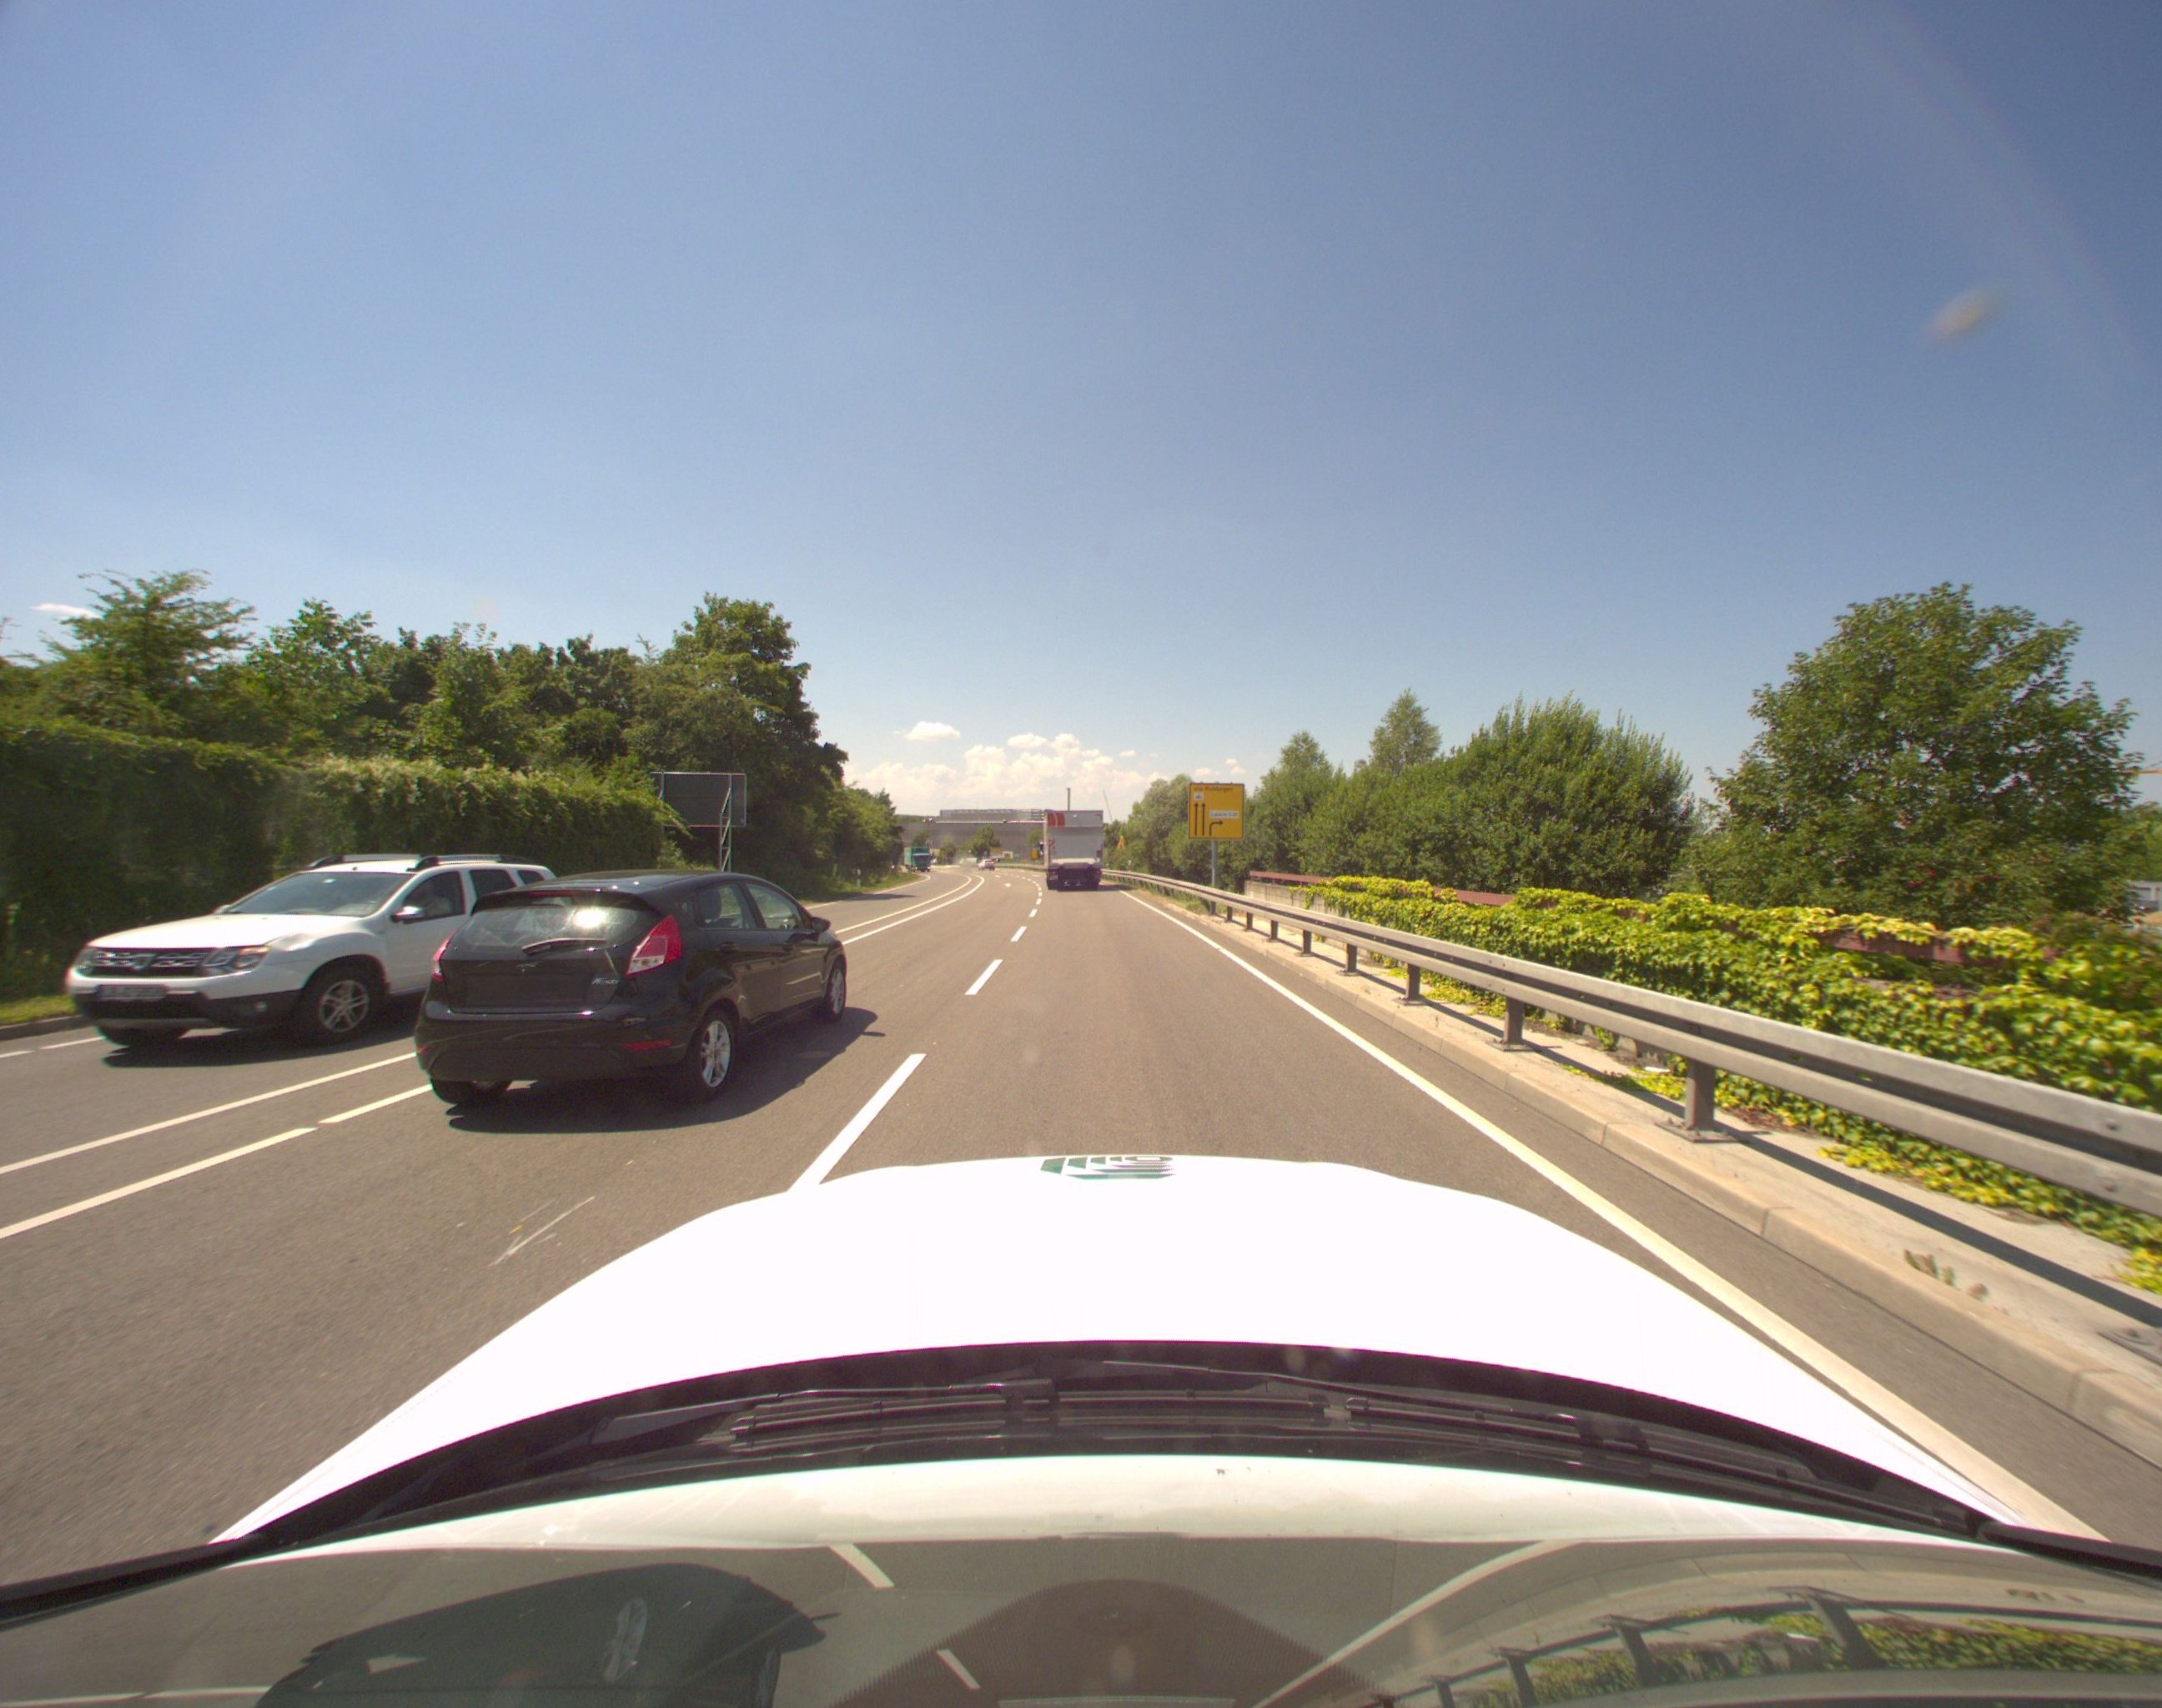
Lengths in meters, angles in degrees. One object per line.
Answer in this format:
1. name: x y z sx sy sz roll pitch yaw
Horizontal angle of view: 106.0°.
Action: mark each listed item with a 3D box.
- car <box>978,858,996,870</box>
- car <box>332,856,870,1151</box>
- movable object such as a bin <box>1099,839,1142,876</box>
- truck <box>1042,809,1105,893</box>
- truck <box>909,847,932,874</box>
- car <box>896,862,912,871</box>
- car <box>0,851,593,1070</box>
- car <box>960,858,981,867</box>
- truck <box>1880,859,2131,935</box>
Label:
1. car: -13.094 1.381 113.290 1.947 1.664 3.978 2 -1 -16
2. car: -3.096 0.797 6.420 1.647 1.493 4.209 0 1 1
3. movable object such as a bin: 5.860 0.460 122.667 3.432 5.260 9.178 1 1 -17
4. truck: -0.318 -0.133 40.597 2.794 3.711 9.106 0 0 0
5. truck: -22.542 0.976 114.004 2.872 3.574 9.388 -1 0 -13
6. car: -28.719 2.012 132.154 1.872 1.442 4.326 -1 -1 -2
7. car: -7.234 0.814 8.238 1.986 1.629 4.197 -1 0 1
8. car: -26.394 2.075 194.320 4.728 1.932 2.154 -1 -1 1
9. truck: 53.902 2.355 48.038 9.300 3.684 3.150 3 2 40
